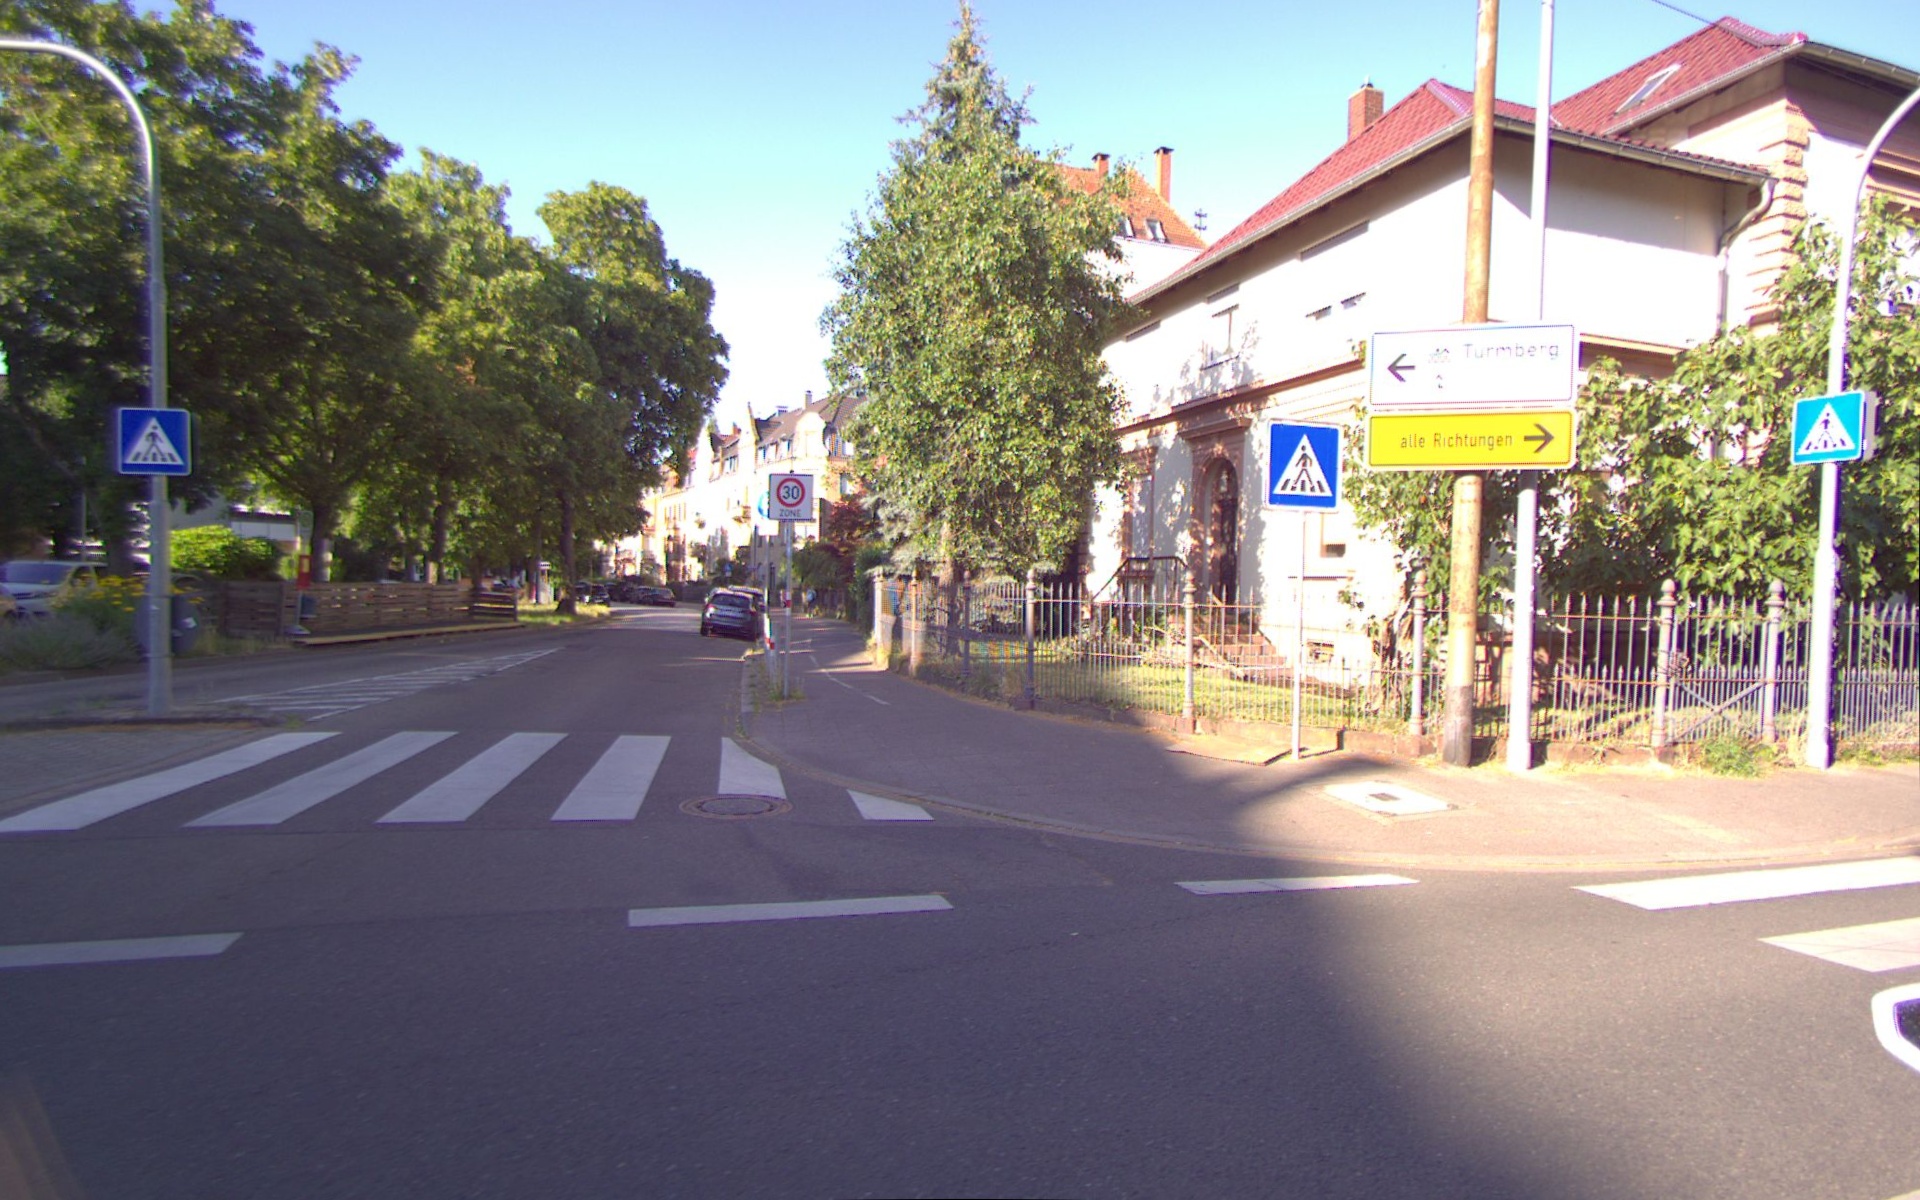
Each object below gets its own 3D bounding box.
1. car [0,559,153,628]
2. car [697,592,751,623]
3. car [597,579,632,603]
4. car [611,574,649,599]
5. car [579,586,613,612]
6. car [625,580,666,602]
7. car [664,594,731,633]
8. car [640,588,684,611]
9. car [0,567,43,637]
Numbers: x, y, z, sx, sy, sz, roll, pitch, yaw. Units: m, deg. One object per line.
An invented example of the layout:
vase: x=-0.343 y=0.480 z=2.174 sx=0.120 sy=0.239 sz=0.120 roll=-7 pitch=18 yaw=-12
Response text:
car: x=-24.090 y=-0.200 z=27.103 sx=1.909 sy=1.685 sz=4.494 roll=2 pitch=1 yaw=-15
car: x=-13.861 y=0.419 z=58.834 sx=2.314 sy=1.617 sz=4.903 roll=2 pitch=1 yaw=-22
car: x=-32.143 y=-0.839 z=93.438 sx=2.319 sy=2.068 sz=4.892 roll=2 pitch=1 yaw=-28
car: x=-28.842 y=-1.198 z=87.636 sx=2.319 sy=2.068 sz=4.892 roll=2 pitch=1 yaw=-28
car: x=-25.236 y=-0.065 z=69.568 sx=1.827 sy=1.707 sz=3.973 roll=1 pitch=1 yaw=-26
car: x=-25.648 y=-0.734 z=81.842 sx=2.319 sy=1.617 sz=4.892 roll=2 pitch=1 yaw=-28
car: x=-9.460 y=0.452 z=36.447 sx=1.630 sy=1.253 sz=3.794 roll=2 pitch=1 yaw=-4
car: x=-22.893 y=-0.074 z=77.026 sx=2.319 sy=1.617 sz=4.892 roll=2 pitch=1 yaw=-28
car: x=-22.382 y=0.027 z=21.839 sx=1.909 sy=1.557 sz=4.125 roll=2 pitch=1 yaw=-15
